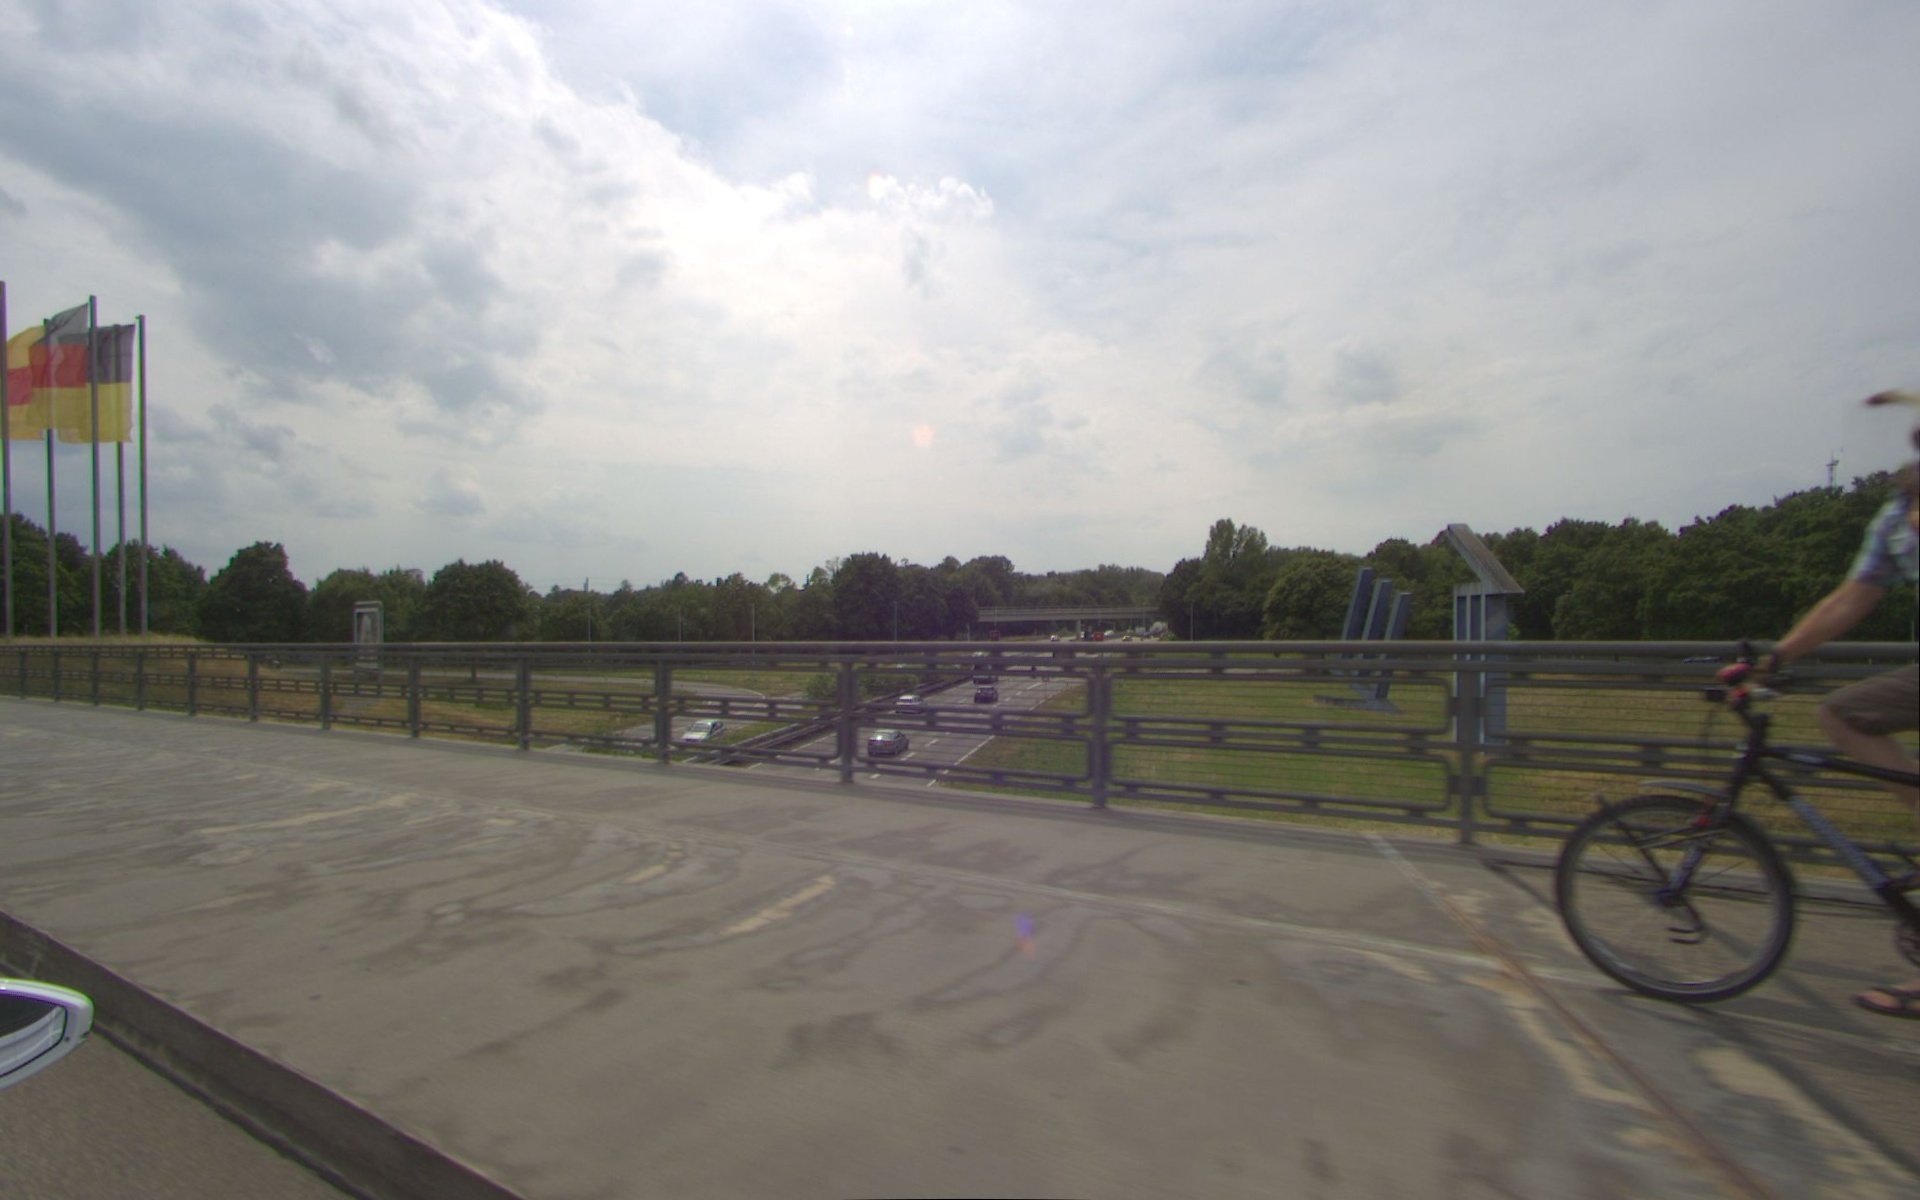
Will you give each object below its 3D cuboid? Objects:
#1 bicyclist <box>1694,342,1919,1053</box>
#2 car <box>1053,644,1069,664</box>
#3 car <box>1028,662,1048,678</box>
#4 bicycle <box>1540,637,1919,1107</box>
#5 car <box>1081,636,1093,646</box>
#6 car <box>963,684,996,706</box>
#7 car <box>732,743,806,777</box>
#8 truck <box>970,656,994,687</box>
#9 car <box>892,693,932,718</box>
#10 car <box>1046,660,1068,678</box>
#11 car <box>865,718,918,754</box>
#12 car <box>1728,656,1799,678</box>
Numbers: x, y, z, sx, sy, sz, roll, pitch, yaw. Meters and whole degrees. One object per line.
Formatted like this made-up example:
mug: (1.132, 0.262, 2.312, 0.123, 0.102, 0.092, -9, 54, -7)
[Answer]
bicyclist: (2.788, 0.243, 2.870, 0.942, 1.827, 0.869, 0, 4, 27)
car: (14.079, 7.502, 139.599, 1.962, 2.566, 3.998, -1, 0, 11)
car: (9.289, 8.276, 118.995, 1.962, 1.606, 3.998, -1, 0, 11)
bicycle: (2.732, 0.732, 2.931, 1.736, 1.156, 0.811, 0, 3, 28)
car: (25.724, 8.304, 202.431, 2.043, 1.907, 4.359, 0, -1, 12)
car: (1.845, 8.631, 91.448, 1.964, 1.606, 3.994, -1, 0, 17)
car: (-9.824, 8.244, 51.778, 1.965, 1.253, 3.995, 0, -3, 20)
truck: (2.443, 7.898, 110.893, 1.962, 3.191, 4.379, -1, 0, 9)
car: (-3.802, 8.410, 79.834, 1.964, 1.606, 3.995, -1, 0, 16)
car: (12.898, 9.145, 133.151, 2.205, 2.040, 4.167, 0, -1, 15)
car: (-4.040, 8.082, 59.790, 1.963, 1.606, 3.996, -1, 0, 14)
car: (76.709, 6.400, 95.682, 1.968, 1.826, 4.885, 1, -1, -24)
